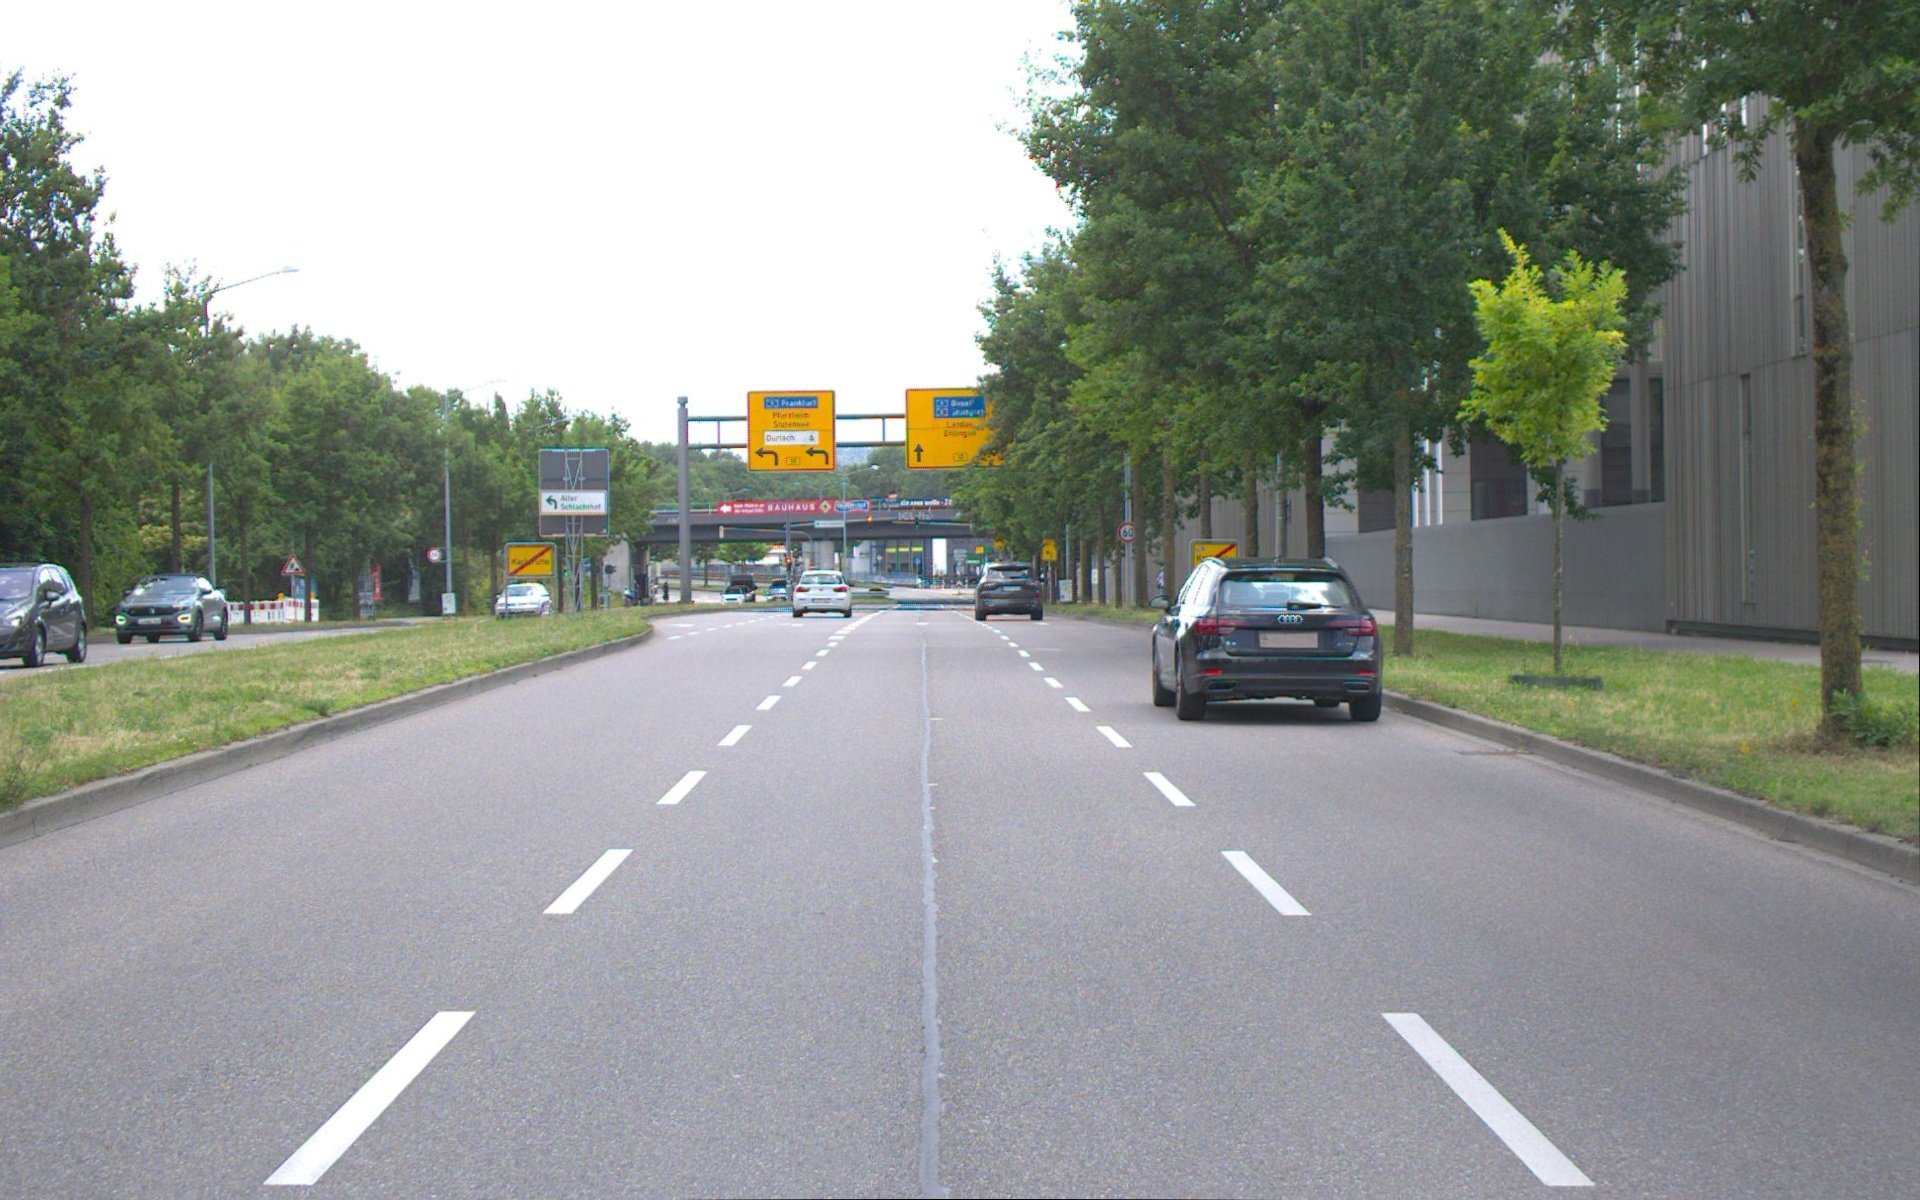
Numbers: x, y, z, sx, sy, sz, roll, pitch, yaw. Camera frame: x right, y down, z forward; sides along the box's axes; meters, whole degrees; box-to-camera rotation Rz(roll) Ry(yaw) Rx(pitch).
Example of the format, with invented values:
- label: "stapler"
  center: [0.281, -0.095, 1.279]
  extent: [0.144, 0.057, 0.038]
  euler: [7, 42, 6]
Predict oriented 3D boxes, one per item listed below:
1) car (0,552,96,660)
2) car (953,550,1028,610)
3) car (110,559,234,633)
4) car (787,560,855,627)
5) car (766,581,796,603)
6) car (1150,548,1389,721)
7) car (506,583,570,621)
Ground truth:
- label: "car"
  center: [-14.649, 0.090, 52.492]
  extent: [1.741, 1.563, 4.276]
  euler: [-2, 1, 1]
- label: "car"
  center: [0.887, -0.589, 96.785]
  extent: [1.993, 1.620, 4.309]
  euler: [-1, 1, 2]
- label: "car"
  center: [-17.617, -0.108, 77.042]
  extent: [1.741, 1.540, 4.574]
  euler: [-2, 1, -1]
- label: "car"
  center: [-4.304, -0.187, 105.877]
  extent: [1.993, 2.007, 4.000]
  euler: [0, 0, -3]
- label: "car"
  center: [-13.507, -0.597, 259.978]
  extent: [1.993, 1.612, 4.000]
  euler: [-1, 0, 1]
- label: "car"
  center: [2.739, 0.292, 31.196]
  extent: [1.683, 1.458, 4.000]
  euler: [0, 0, -2]
- label: "car"
  center: [-15.753, 0.068, 128.570]
  extent: [1.640, 1.324, 4.381]
  euler: [-1, 1, 3]
